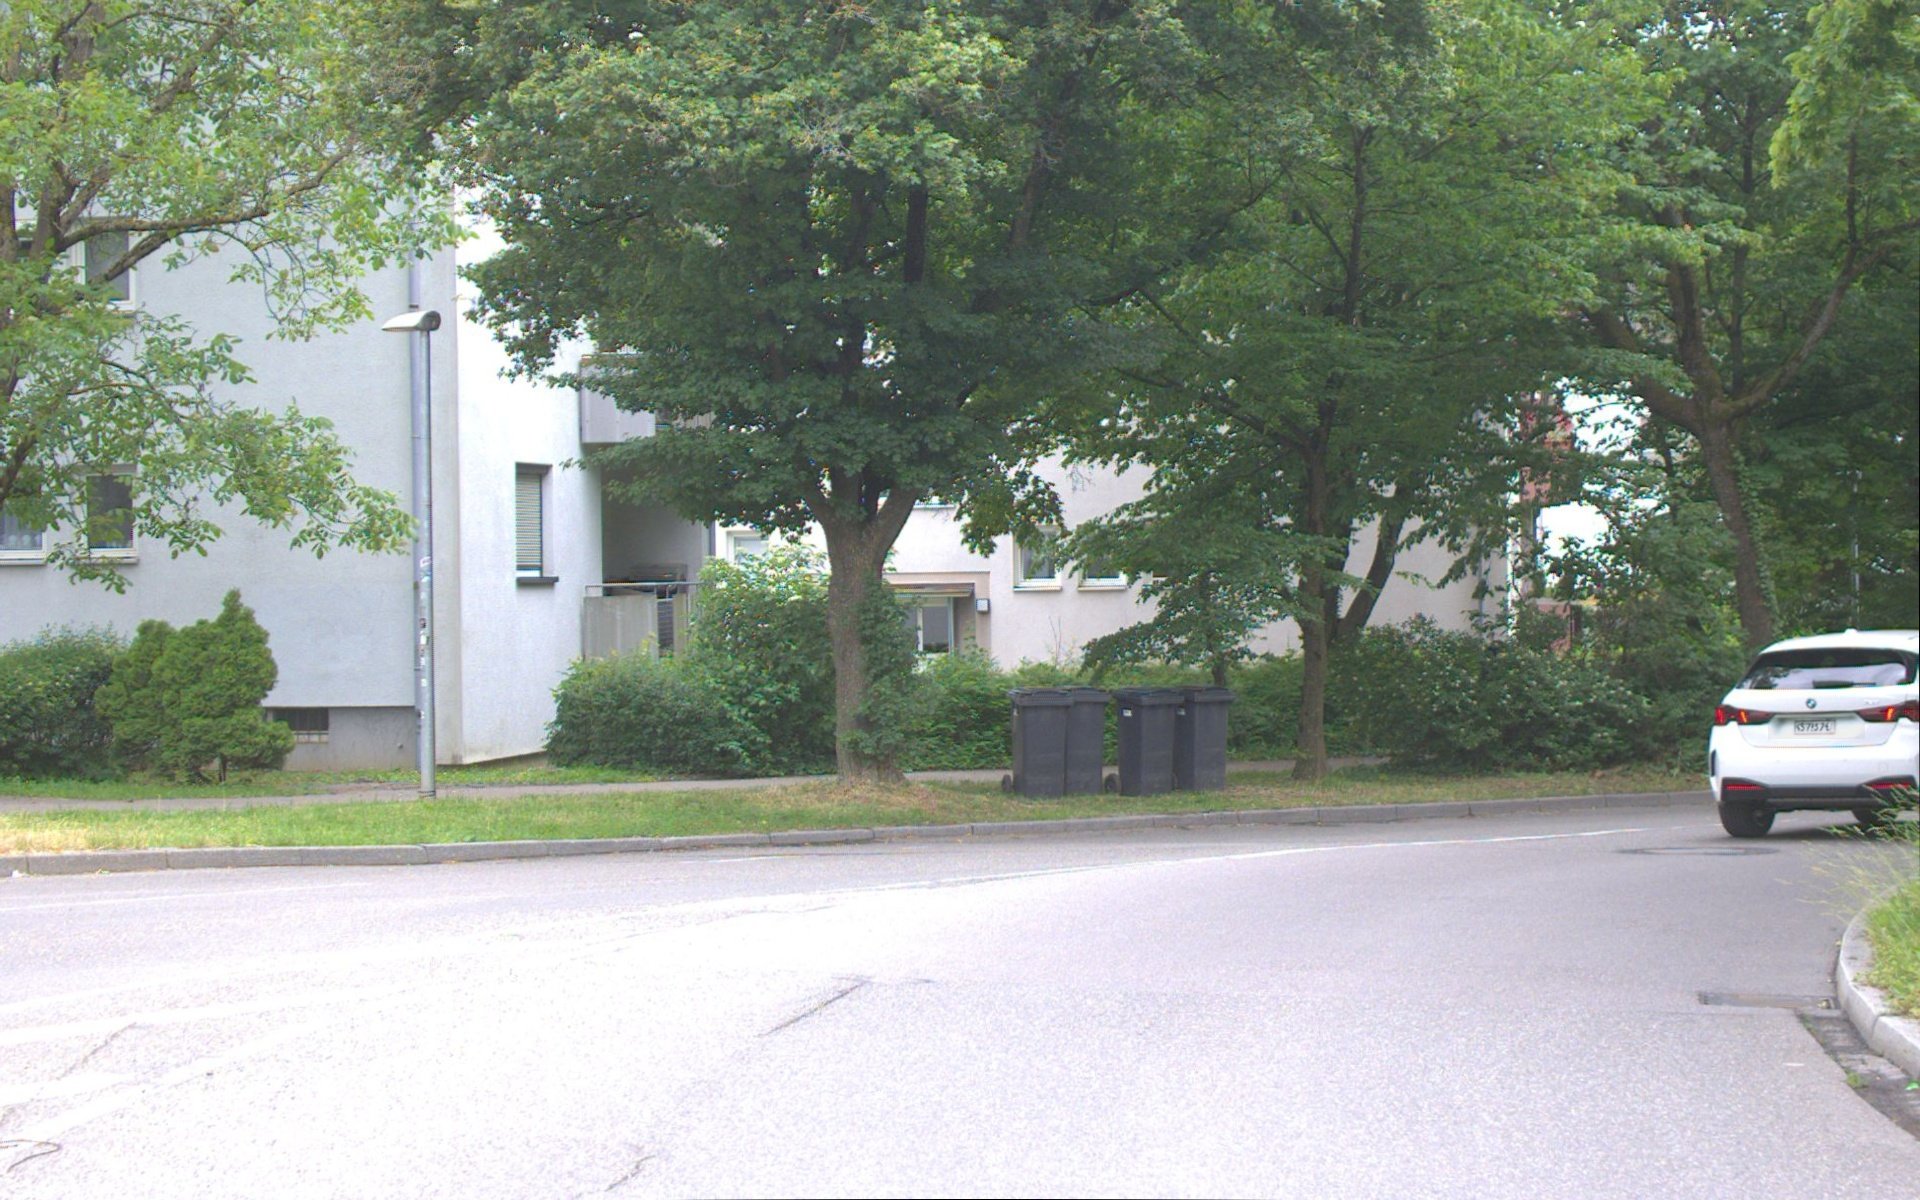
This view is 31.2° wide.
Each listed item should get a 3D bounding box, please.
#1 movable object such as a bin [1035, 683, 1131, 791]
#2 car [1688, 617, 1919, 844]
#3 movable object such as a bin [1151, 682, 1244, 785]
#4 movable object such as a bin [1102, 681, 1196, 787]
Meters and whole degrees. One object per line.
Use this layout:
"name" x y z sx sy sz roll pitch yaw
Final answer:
"movable object such as a bin" 1.043 1.158 29.182 0.591 0.876 0.621 1 1 -22
"car" 6.939 0.930 25.045 1.799 1.512 4.198 0 -2 33
"movable object such as a bin" 2.044 1.149 29.635 0.576 0.842 0.601 1 1 -22
"movable object such as a bin" 1.616 1.140 29.396 0.576 0.863 0.601 1 1 -22
